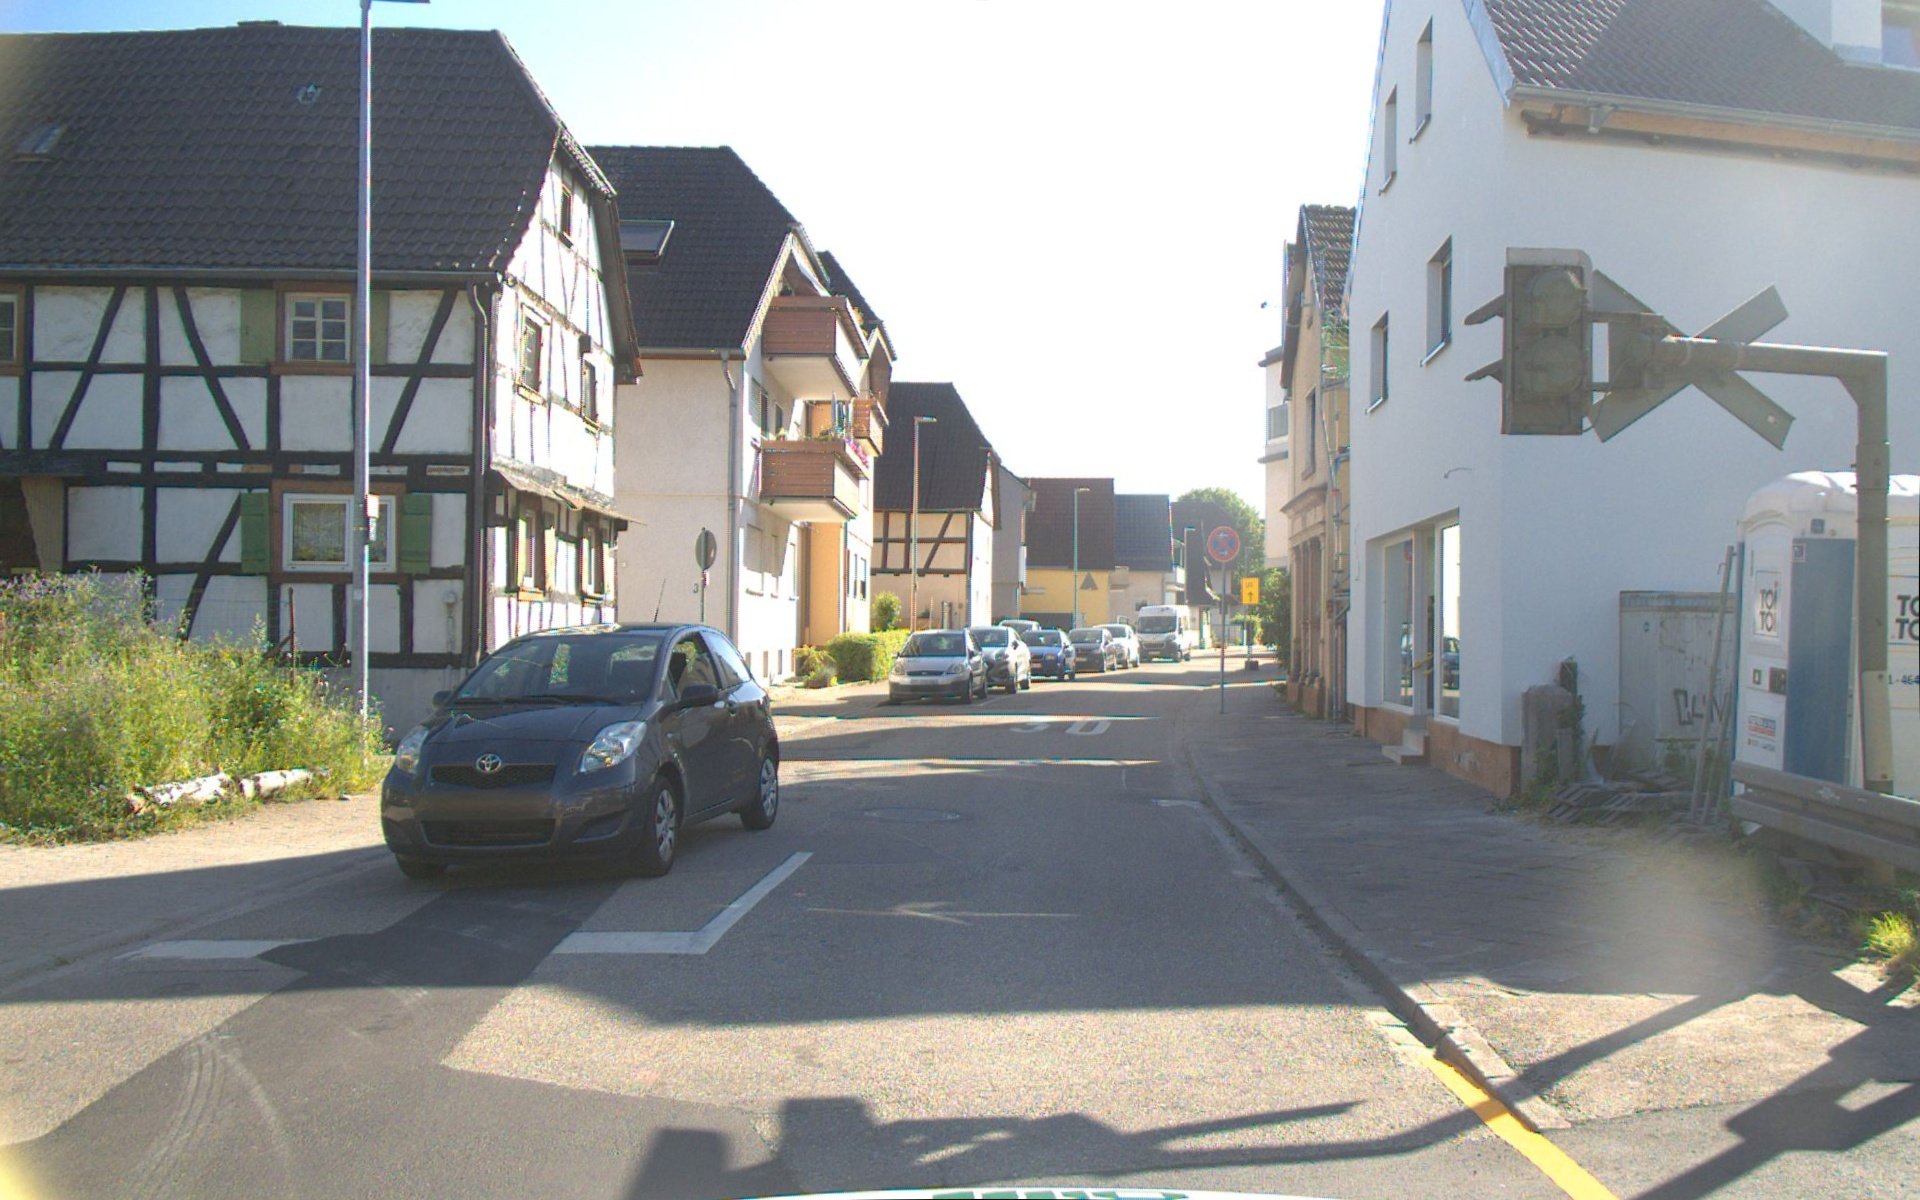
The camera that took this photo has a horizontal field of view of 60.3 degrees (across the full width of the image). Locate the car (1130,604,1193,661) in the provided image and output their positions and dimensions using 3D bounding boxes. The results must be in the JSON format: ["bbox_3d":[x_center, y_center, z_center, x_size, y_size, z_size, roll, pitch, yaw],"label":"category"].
[{"bbox_3d":[9.057,1.460,74.081,2.033,2.436,5.211,-1,-2,15],"label":"car"}]

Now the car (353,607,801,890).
[{"bbox_3d":[-2.330,0.883,11.027,1.650,1.537,3.657,-2,-2,8],"label":"car"}]

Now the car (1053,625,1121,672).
[{"bbox_3d":[4.419,1.664,57.126,1.667,1.545,4.124,-2,-2,14],"label":"car"}]

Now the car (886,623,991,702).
[{"bbox_3d":[-0.386,1.252,34.191,1.596,1.532,3.856,0,-1,8],"label":"car"}]

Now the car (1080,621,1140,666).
[{"bbox_3d":[5.623,1.621,61.633,1.638,1.599,3.968,-1,-1,13],"label":"car"}]

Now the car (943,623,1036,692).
[{"bbox_3d":[0.750,1.325,39.147,1.638,1.532,4.097,-1,-1,9],"label":"car"}]

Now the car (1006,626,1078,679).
[{"bbox_3d":[2.429,1.512,47.947,1.603,1.466,4.078,-1,-2,10],"label":"car"}]
